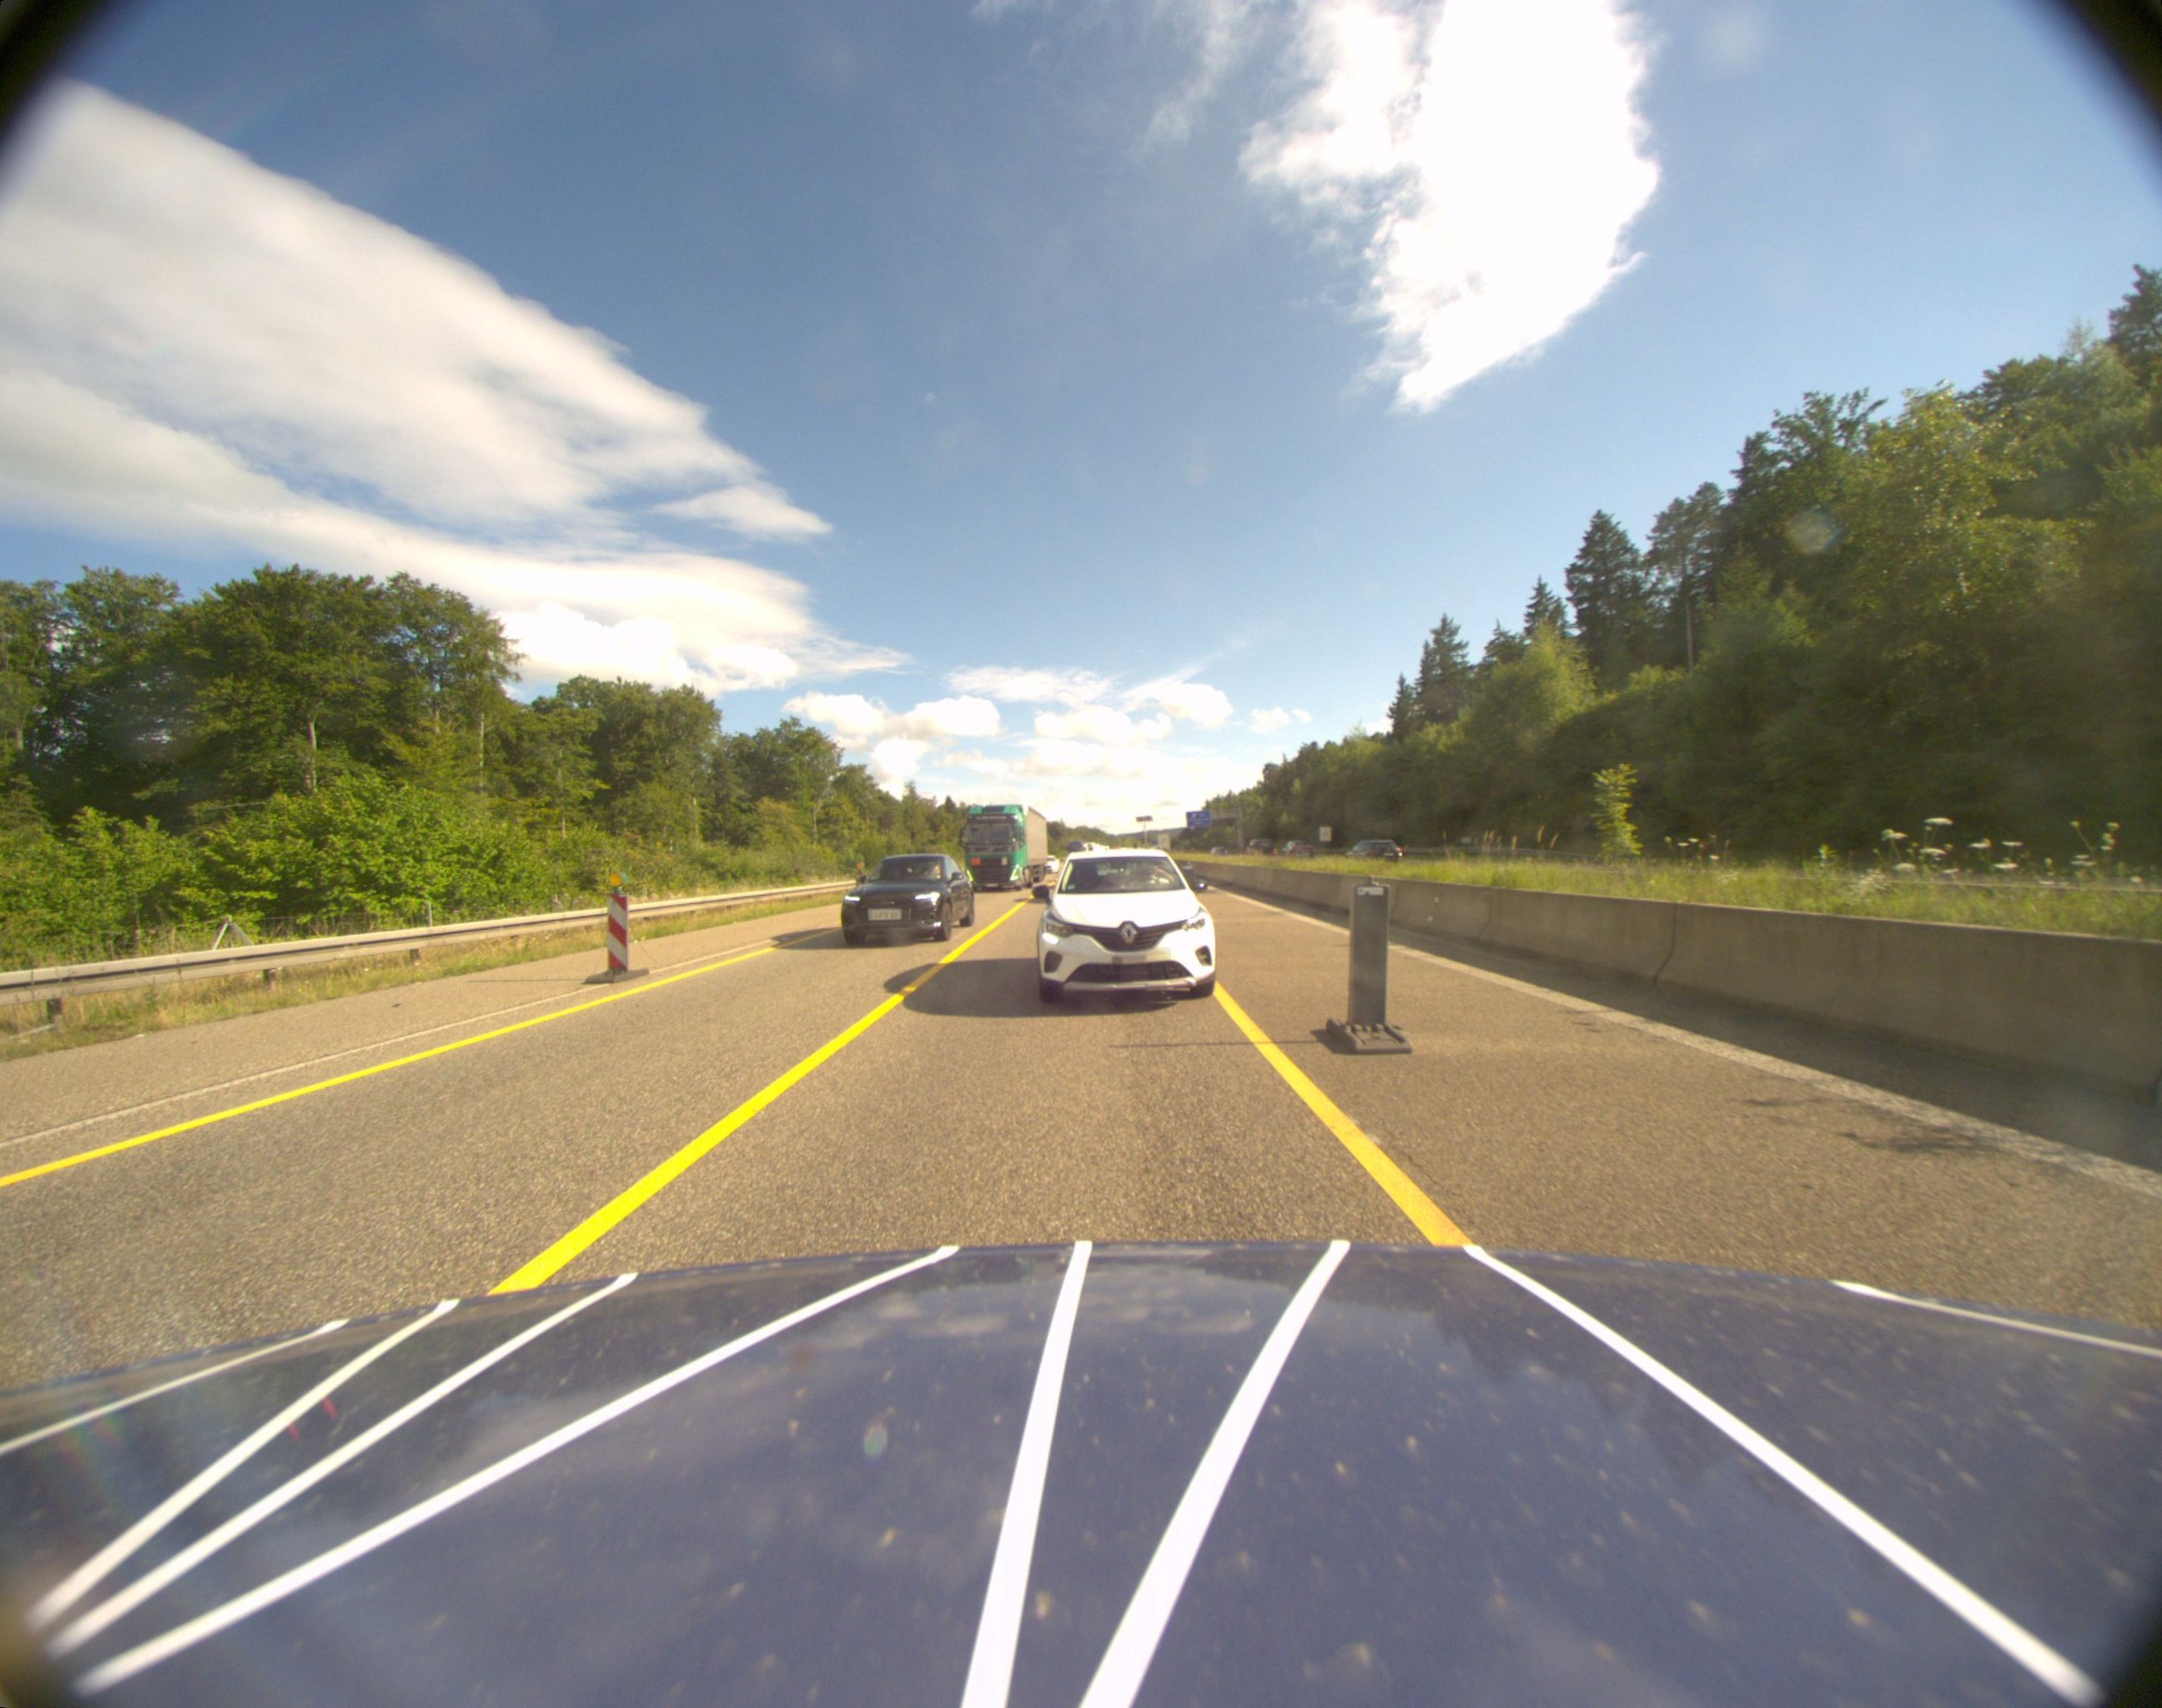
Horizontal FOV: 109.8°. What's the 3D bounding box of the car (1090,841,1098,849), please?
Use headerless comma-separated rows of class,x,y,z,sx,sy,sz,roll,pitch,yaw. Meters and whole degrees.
car,3.123,-2.126,180.904,1.750,1.787,3.999,-2,1,0

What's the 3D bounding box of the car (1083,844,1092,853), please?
car,1.406,-1.088,159.933,1.750,1.787,3.999,-2,1,0

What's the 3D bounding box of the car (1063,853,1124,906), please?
car,0.414,0.766,24.998,1.782,1.468,4.017,-2,1,1

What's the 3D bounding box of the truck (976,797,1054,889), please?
truck,-3.311,-0.514,42.177,2.470,4.119,14.211,-2,0,2

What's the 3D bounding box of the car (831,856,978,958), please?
car,-3.281,0.911,15.038,1.782,1.593,4.293,-2,1,1

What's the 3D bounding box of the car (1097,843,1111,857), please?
car,3.690,-0.668,121.191,1.998,2.002,3.999,-2,1,1

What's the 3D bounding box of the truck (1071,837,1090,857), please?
truck,-0.037,-1.152,128.630,2.576,3.168,6.802,-2,1,3

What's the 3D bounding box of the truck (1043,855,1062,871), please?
truck,-2.374,0.747,63.802,1.468,1.215,3.087,-3,1,-2

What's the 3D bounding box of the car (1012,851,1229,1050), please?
car,0.360,0.815,8.461,1.782,1.593,4.017,-2,1,1

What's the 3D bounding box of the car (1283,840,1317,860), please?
car,20.392,-0.376,70.872,1.782,1.679,4.616,-2,1,1

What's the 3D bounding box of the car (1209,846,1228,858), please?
car,18.967,-0.277,105.066,1.782,1.593,4.311,-2,1,1

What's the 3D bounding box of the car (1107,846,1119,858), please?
car,5.662,-0.306,133.157,1.998,2.002,4.000,-2,1,3

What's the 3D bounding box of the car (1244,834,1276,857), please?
car,16.188,-0.790,68.848,1.782,1.891,4.616,-2,1,1

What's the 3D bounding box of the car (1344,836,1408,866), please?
car,15.574,-0.190,40.333,1.782,1.448,4.104,-2,1,1

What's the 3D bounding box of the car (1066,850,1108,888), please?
car,0.299,0.653,35.492,1.782,1.593,4.017,-2,1,1

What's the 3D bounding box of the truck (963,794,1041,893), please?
truck,-3.516,-0.478,35.578,2.527,4.076,6.856,-2,1,2
